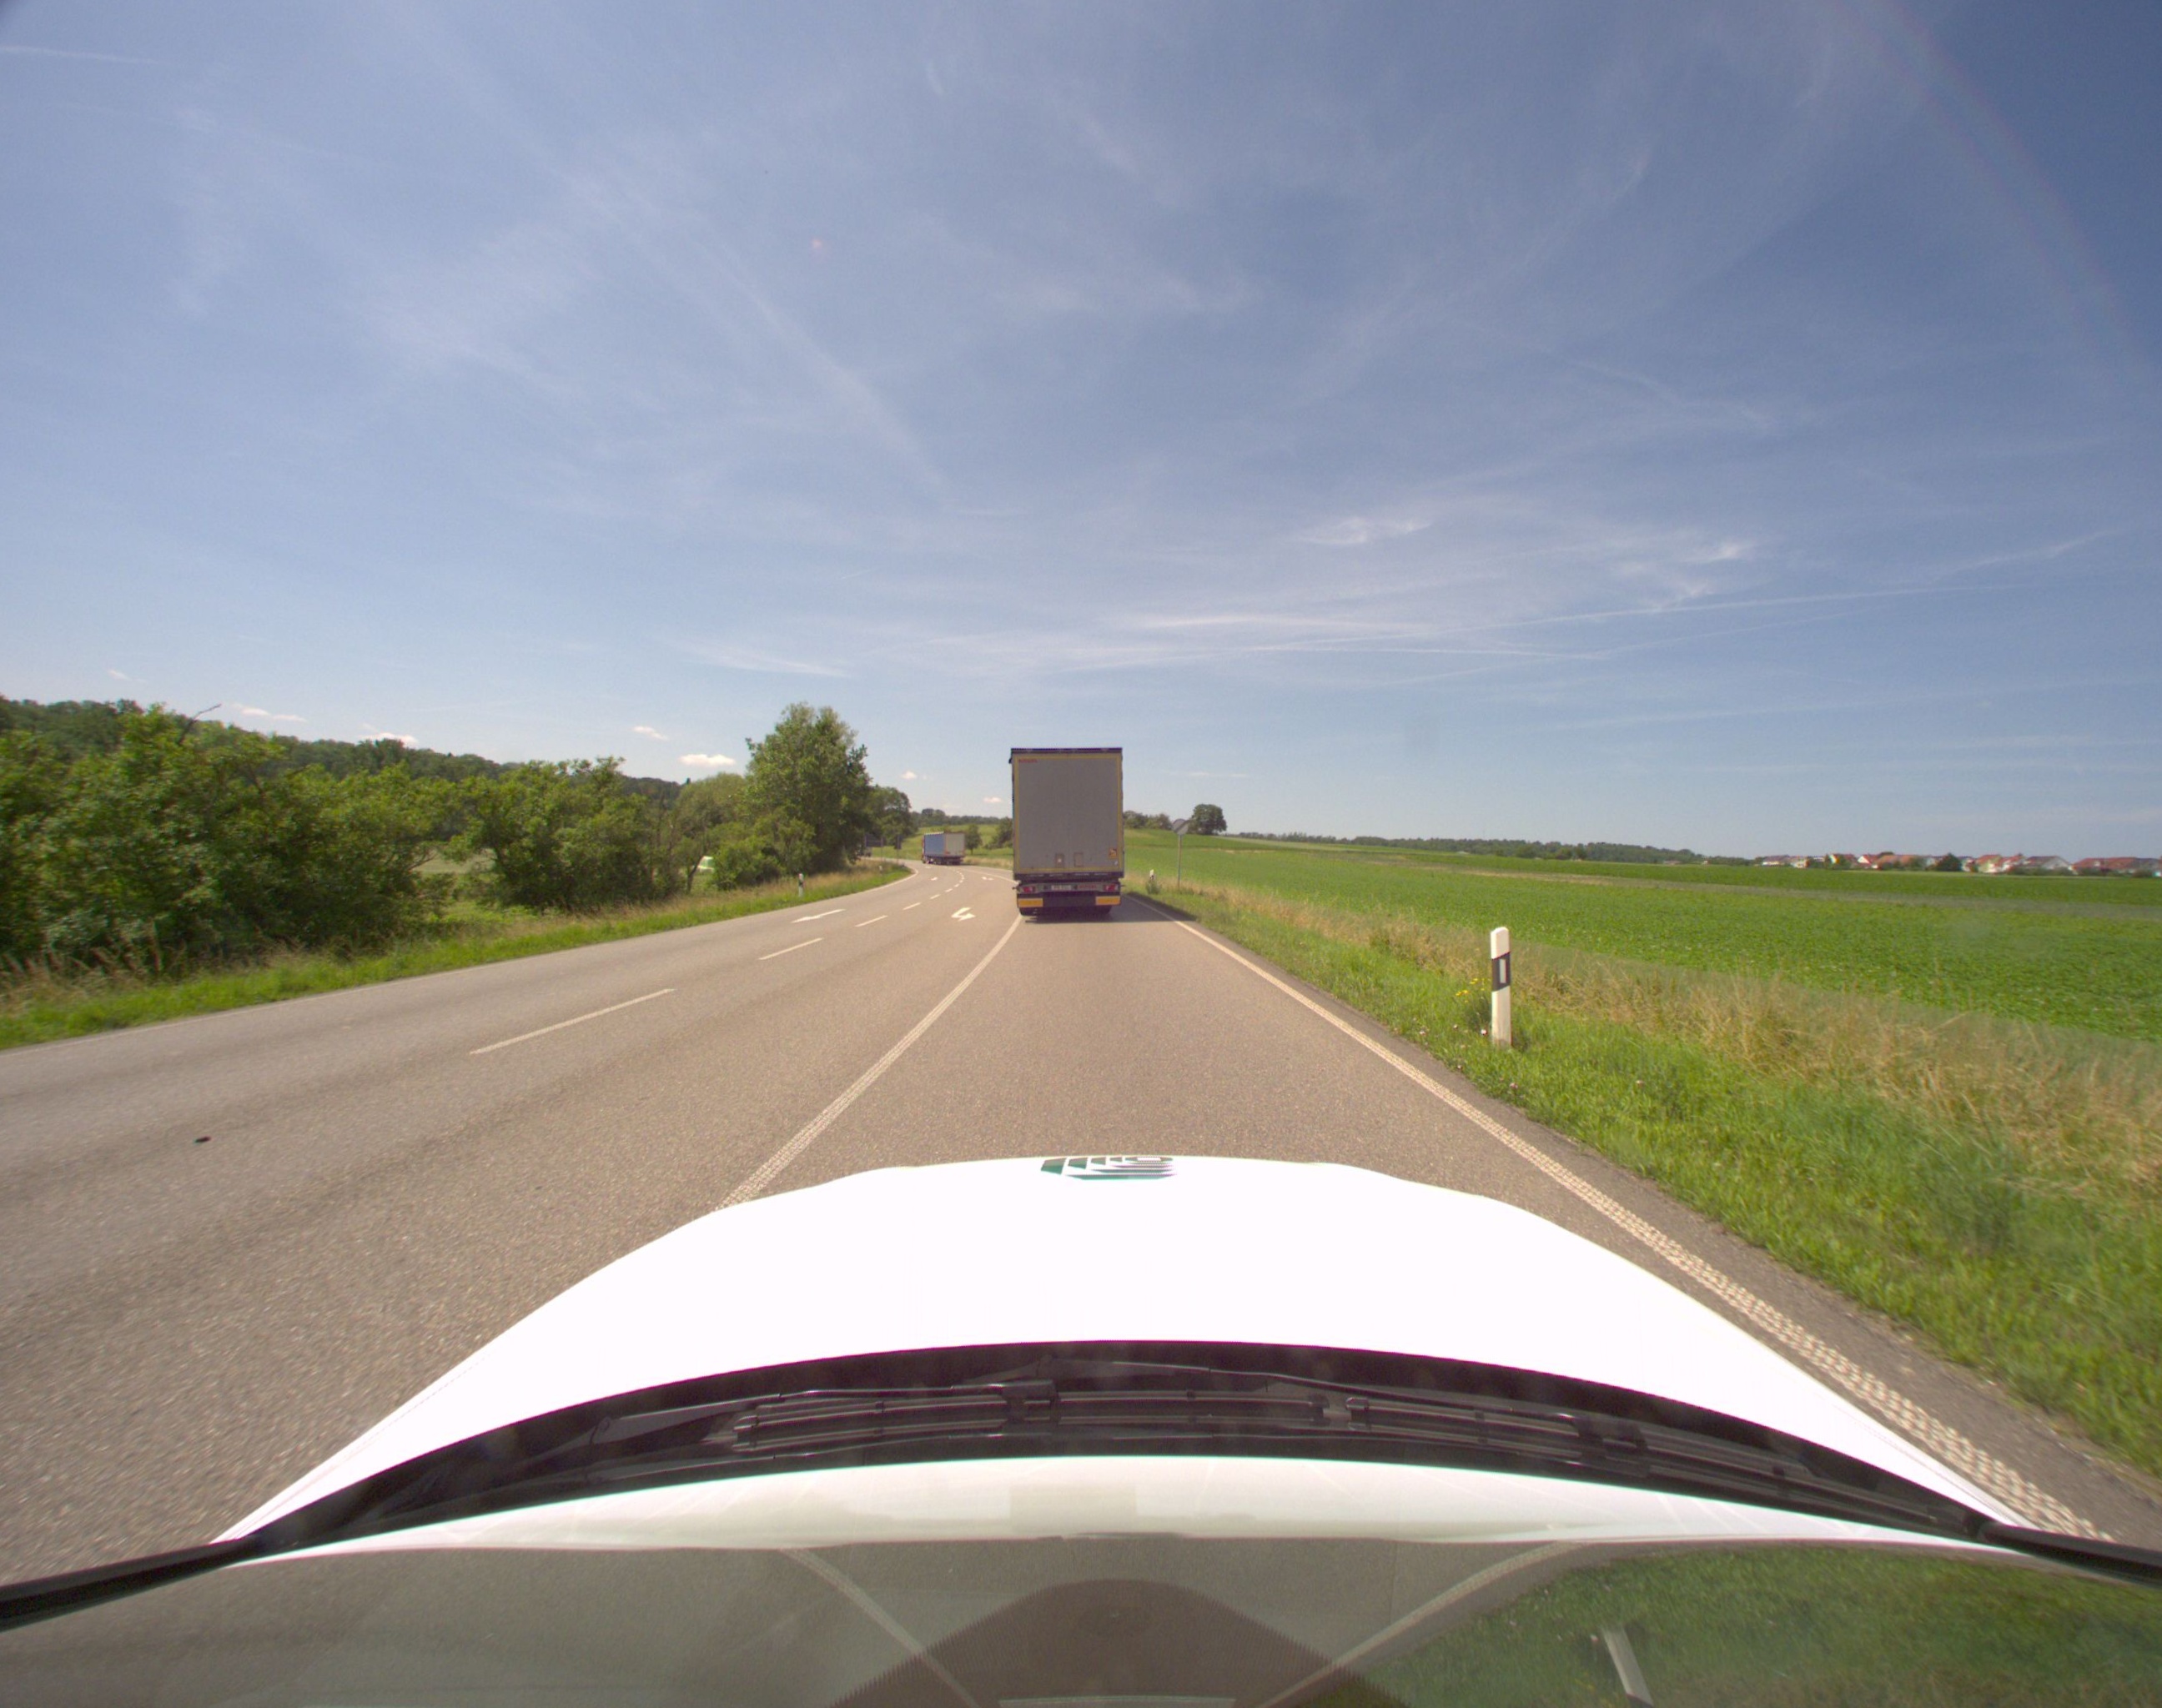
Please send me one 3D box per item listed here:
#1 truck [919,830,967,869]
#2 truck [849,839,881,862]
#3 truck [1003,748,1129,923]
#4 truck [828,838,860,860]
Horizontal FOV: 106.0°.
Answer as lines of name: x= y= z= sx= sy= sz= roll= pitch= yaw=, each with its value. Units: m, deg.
truck: x=-17.908 y=-0.568 z=104.399 sx=2.971 sy=4.584 sz=16.203 roll=1 pitch=0 yaw=-20
truck: x=-43.018 y=-0.524 z=161.693 sx=3.655 sy=4.130 sz=12.985 roll=3 pitch=-2 yaw=-26
truck: x=-0.614 y=-0.411 z=23.295 sx=2.802 sy=3.946 sz=9.578 roll=-1 pitch=0 yaw=-3
truck: x=-51.204 y=-0.989 z=175.581 sx=3.550 sy=4.241 sz=13.280 roll=3 pitch=-2 yaw=-29
